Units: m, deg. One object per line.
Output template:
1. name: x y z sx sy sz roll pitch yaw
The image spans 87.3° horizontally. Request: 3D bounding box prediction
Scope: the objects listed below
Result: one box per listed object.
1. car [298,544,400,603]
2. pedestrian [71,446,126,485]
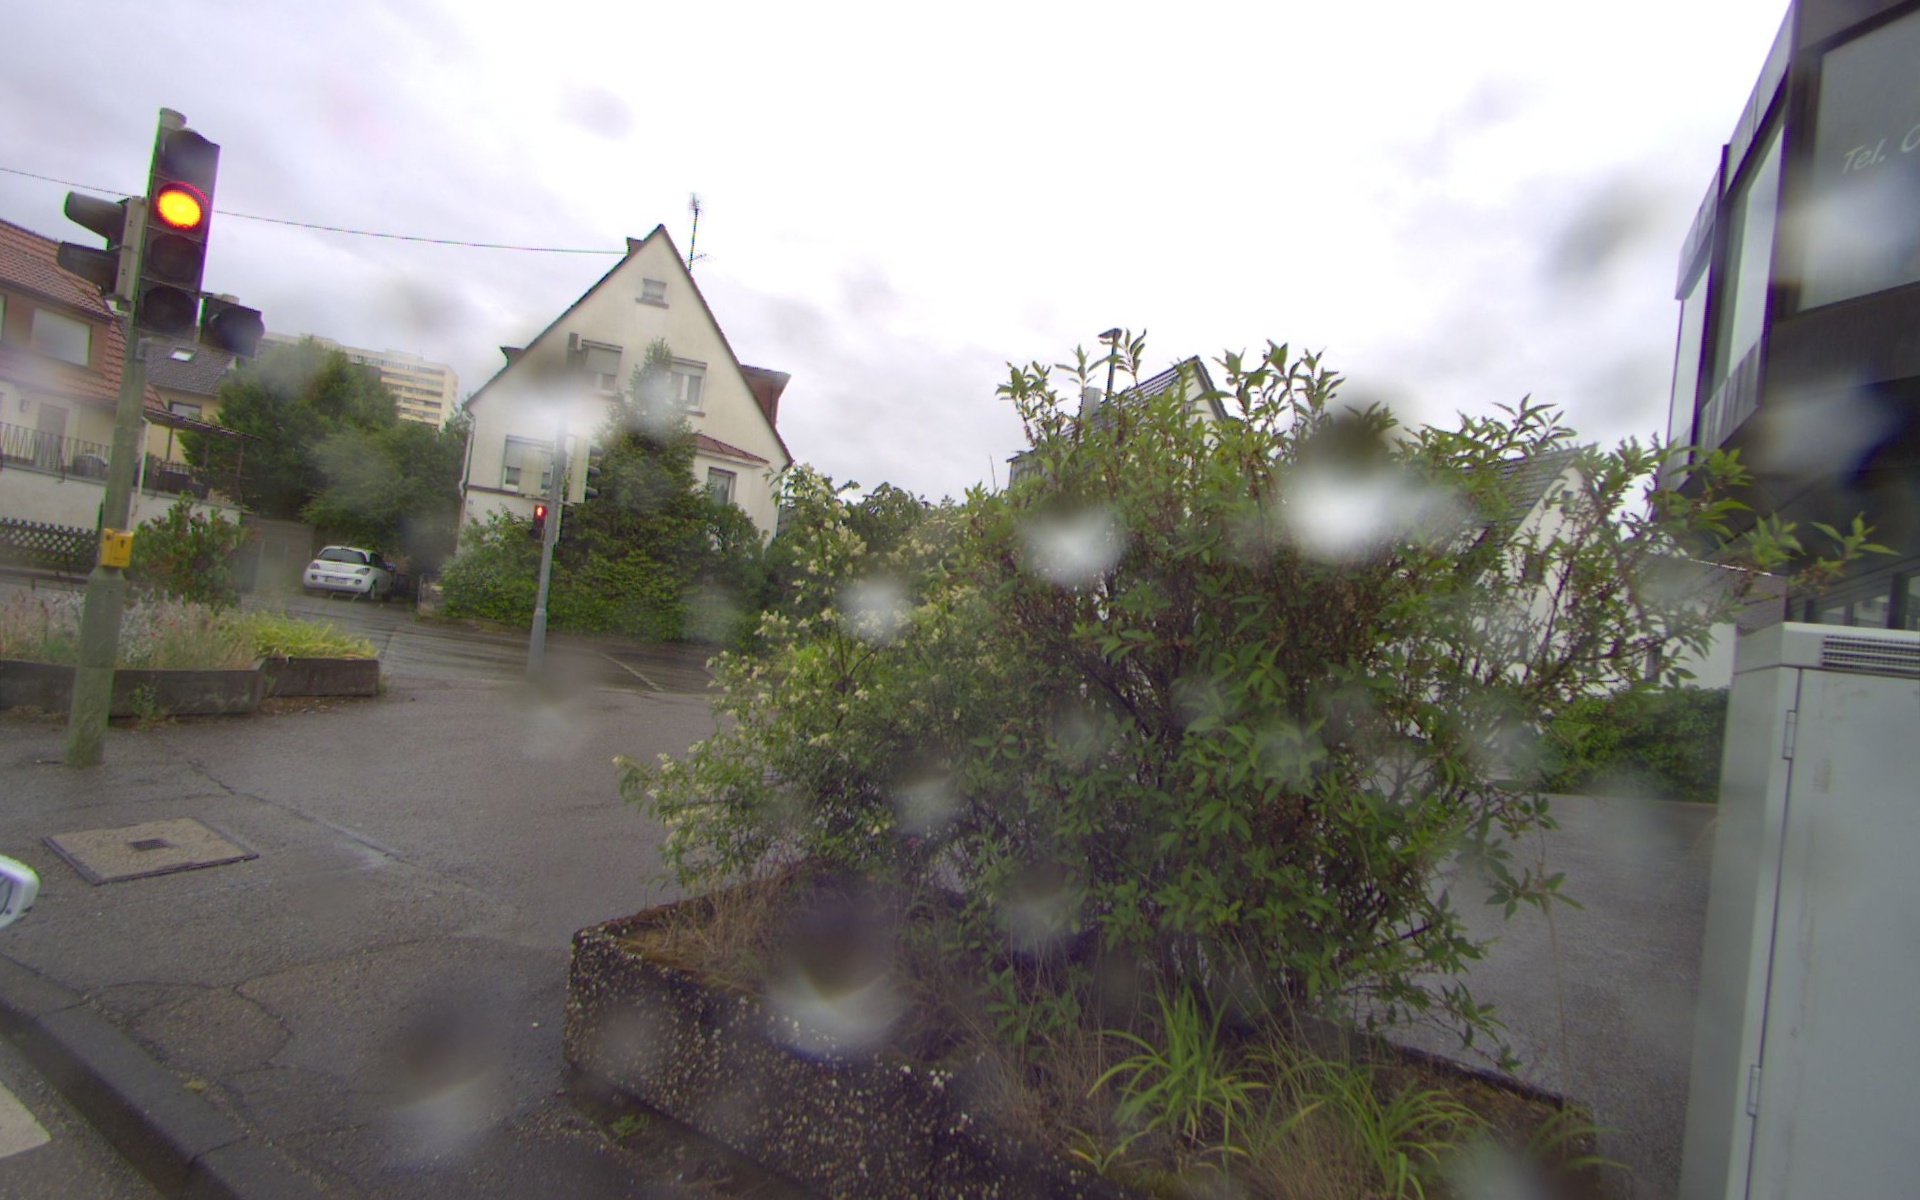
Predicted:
1. car: -17.759 -0.735 29.418 1.794 1.378 3.981 8 -2 -22
2. pedestrian: -24.275 -3.792 28.368 0.623 0.893 0.920 5 -2 13
